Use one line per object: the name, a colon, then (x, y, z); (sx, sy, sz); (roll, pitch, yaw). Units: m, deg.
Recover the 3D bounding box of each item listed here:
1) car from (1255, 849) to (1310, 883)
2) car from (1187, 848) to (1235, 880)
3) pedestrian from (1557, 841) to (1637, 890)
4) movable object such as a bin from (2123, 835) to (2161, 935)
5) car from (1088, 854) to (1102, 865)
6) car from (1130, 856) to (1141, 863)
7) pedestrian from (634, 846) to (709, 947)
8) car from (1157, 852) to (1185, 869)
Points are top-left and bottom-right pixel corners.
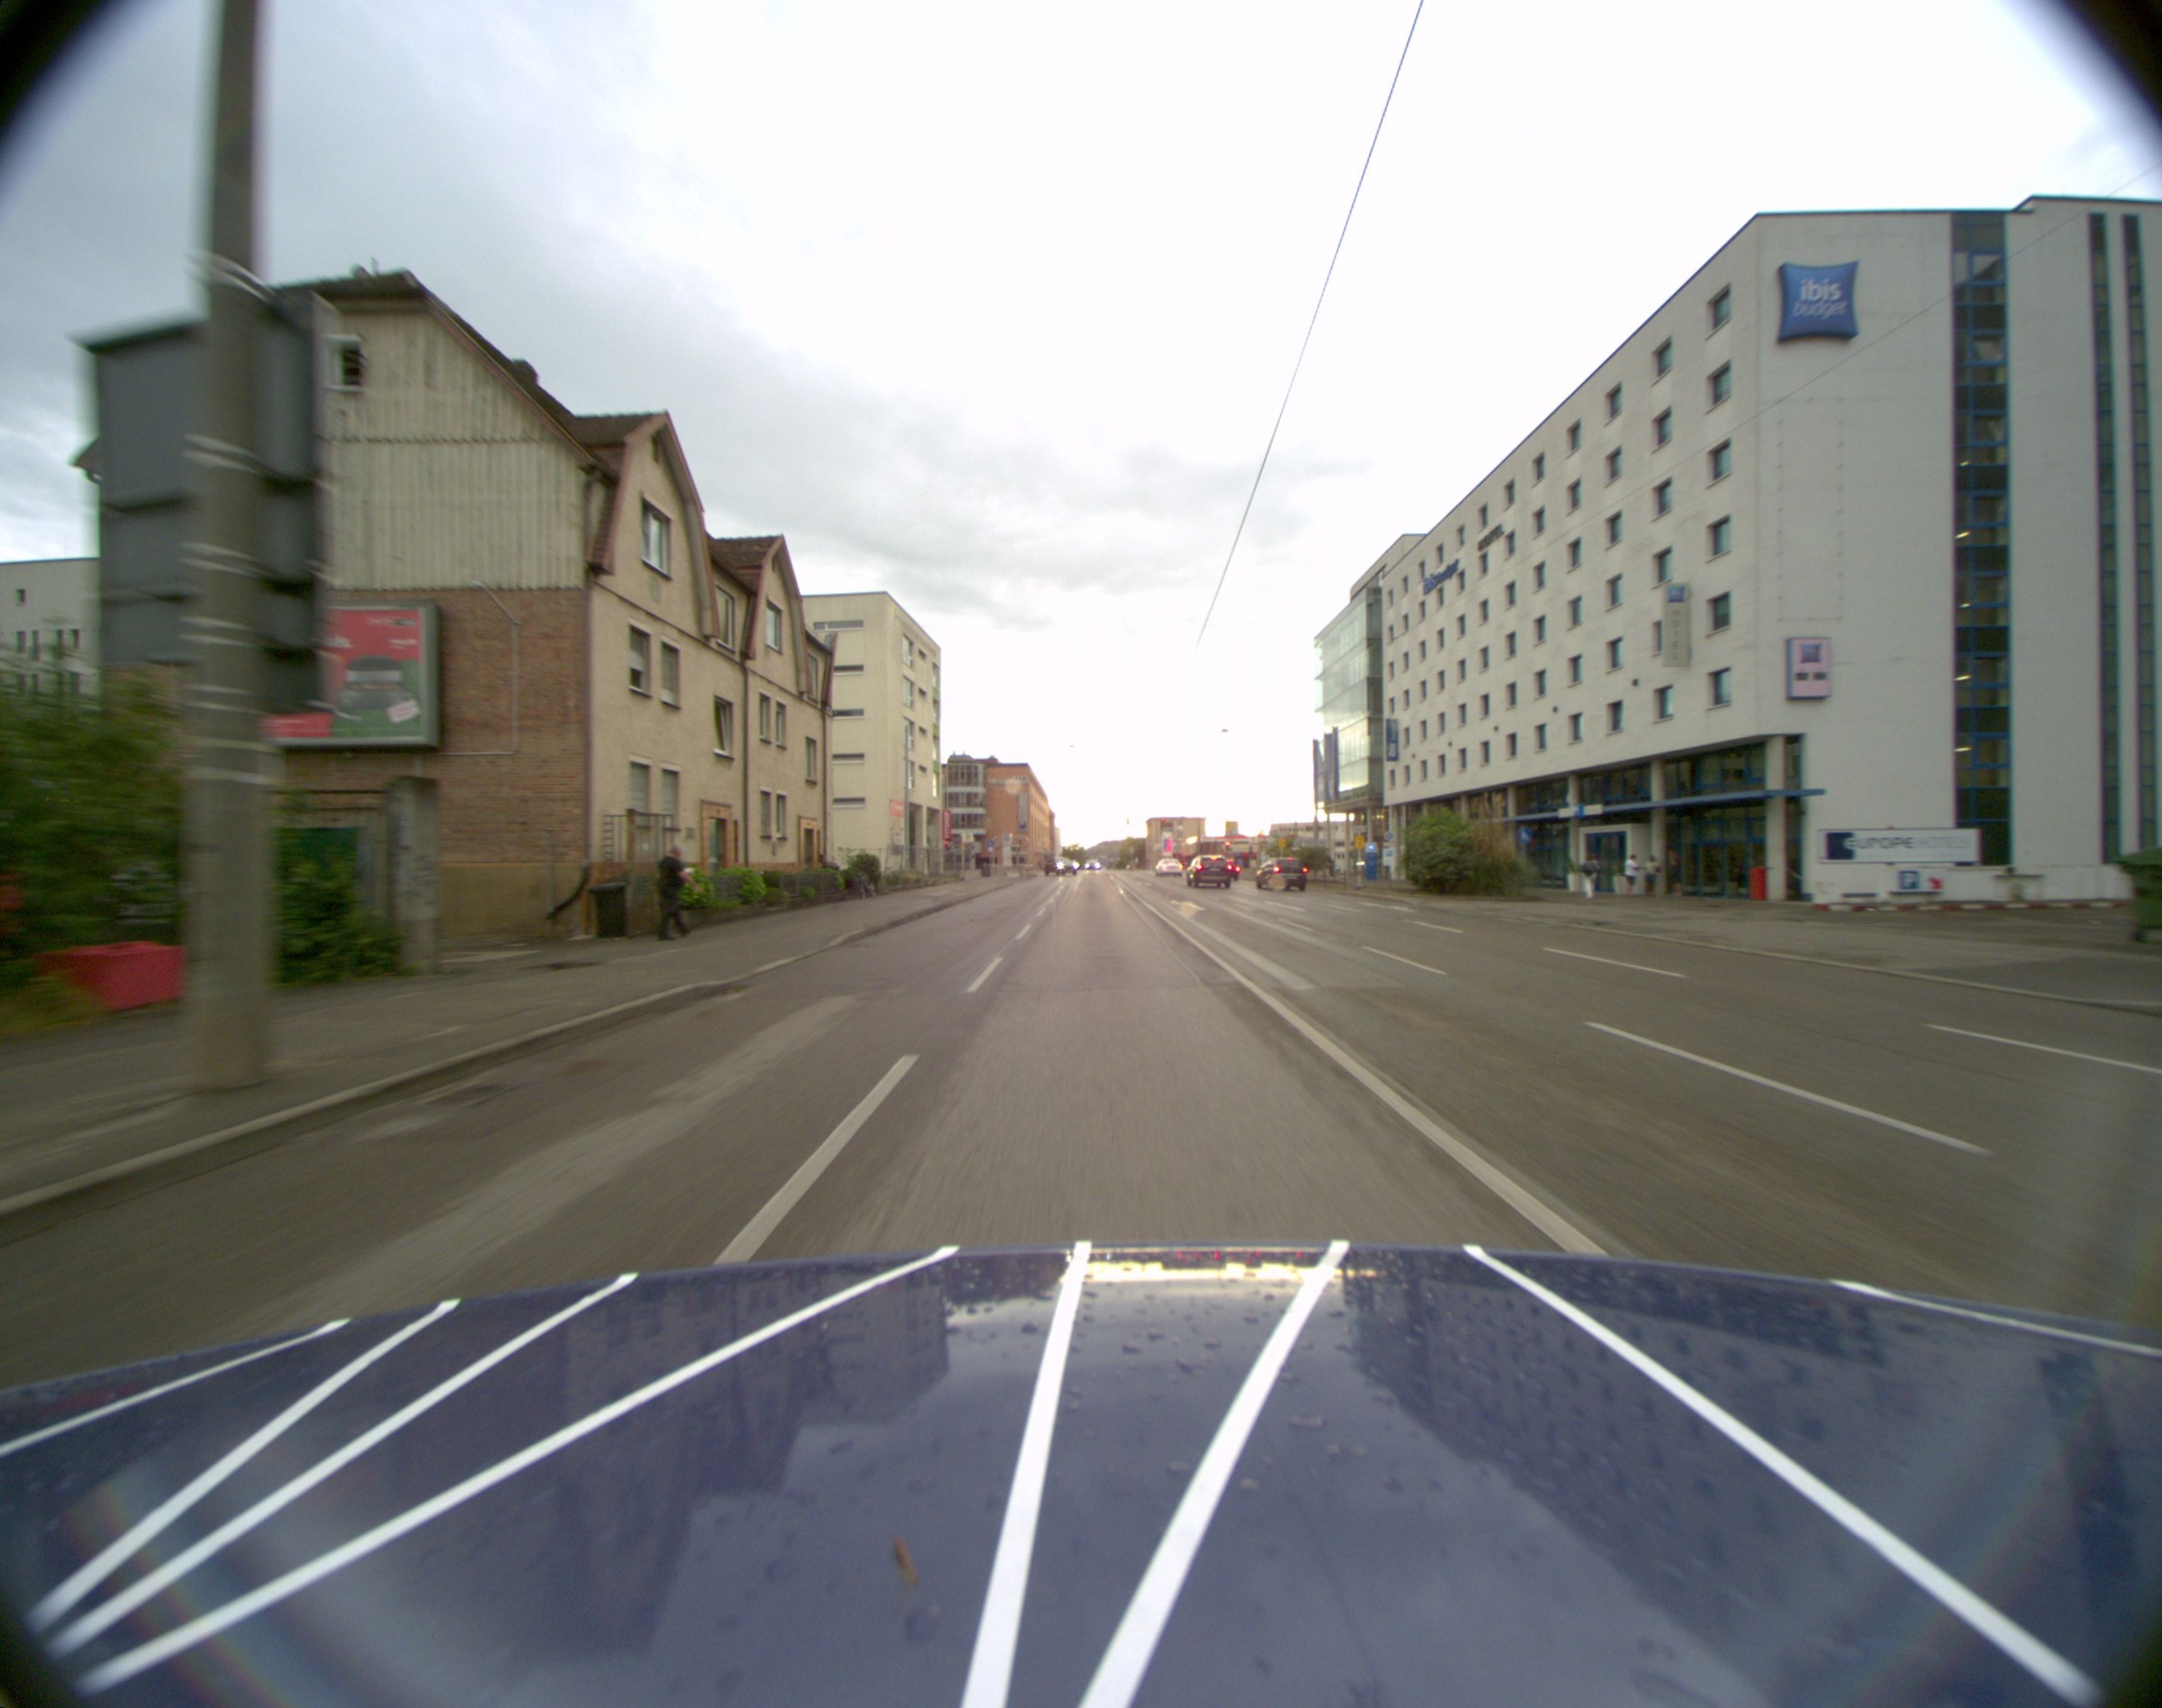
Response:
car: (10.099, 0.584, 38.377); (1.712, 1.557, 4.034); (2, 0, 1)
car: (6.862, 0.545, 40.585); (1.760, 1.546, 4.451); (2, -1, 0)
pedestrian: (18.678, 0.427, 27.586); (1.996, 1.710, 1.698); (-1, -1, 20)
movable object such as a bin: (16.689, 0.470, 11.218); (1.394, 1.481, 0.951); (2, -2, -6)
car: (2.130, 0.823, 114.503); (1.964, 1.516, 4.262); (-1, 0, 0)
car: (12.016, 1.191, 167.326); (1.913, 1.622, 4.210); (-1, 0, -1)
pedestrian: (-7.537, 0.763, 14.023); (0.914, 1.754, 0.766); (-3, 3, -10)
car: (7.614, 0.549, 64.628); (1.822, 1.379, 4.963); (0, 0, 0)
